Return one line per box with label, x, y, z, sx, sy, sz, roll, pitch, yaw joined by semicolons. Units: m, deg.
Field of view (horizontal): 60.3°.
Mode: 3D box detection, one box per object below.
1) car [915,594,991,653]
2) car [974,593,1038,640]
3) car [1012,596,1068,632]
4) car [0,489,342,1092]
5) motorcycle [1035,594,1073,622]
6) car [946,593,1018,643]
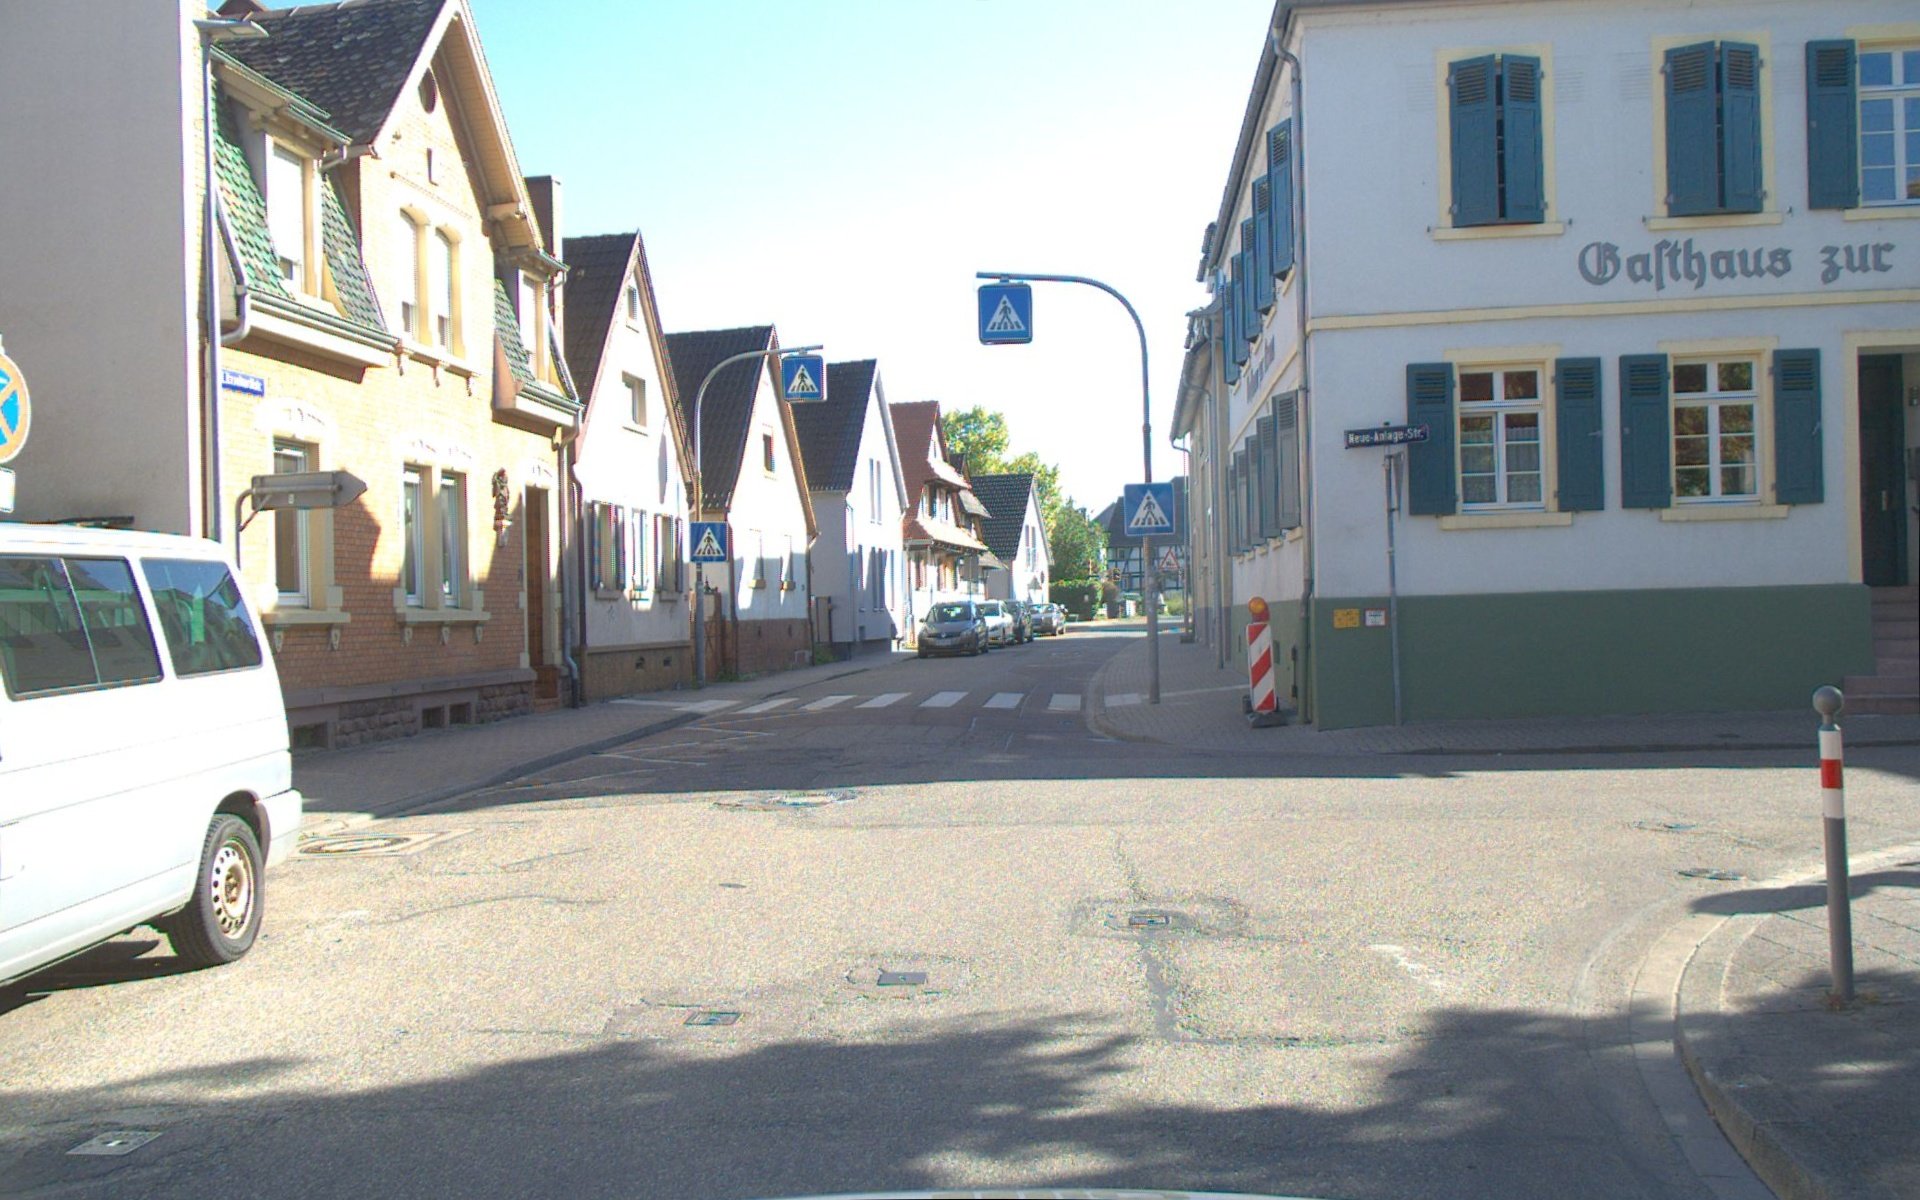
car;-0.167;0.677;49.045;1.705;1.642;4.003;-2;0;7
car;1.761;0.595;61.675;1.745;1.633;4.365;-2;0;10
car;3.570;0.605;72.913;1.805;1.430;5.041;-3;-1;10
car;-3.989;0.642;5.741;1.837;1.914;4.834;-3;0;-1
motorcycle;4.346;0.364;76.593;0.620;1.253;1.969;-2;0;-35
car;0.794;0.594;56.046;1.777;1.594;4.172;-2;0;10
